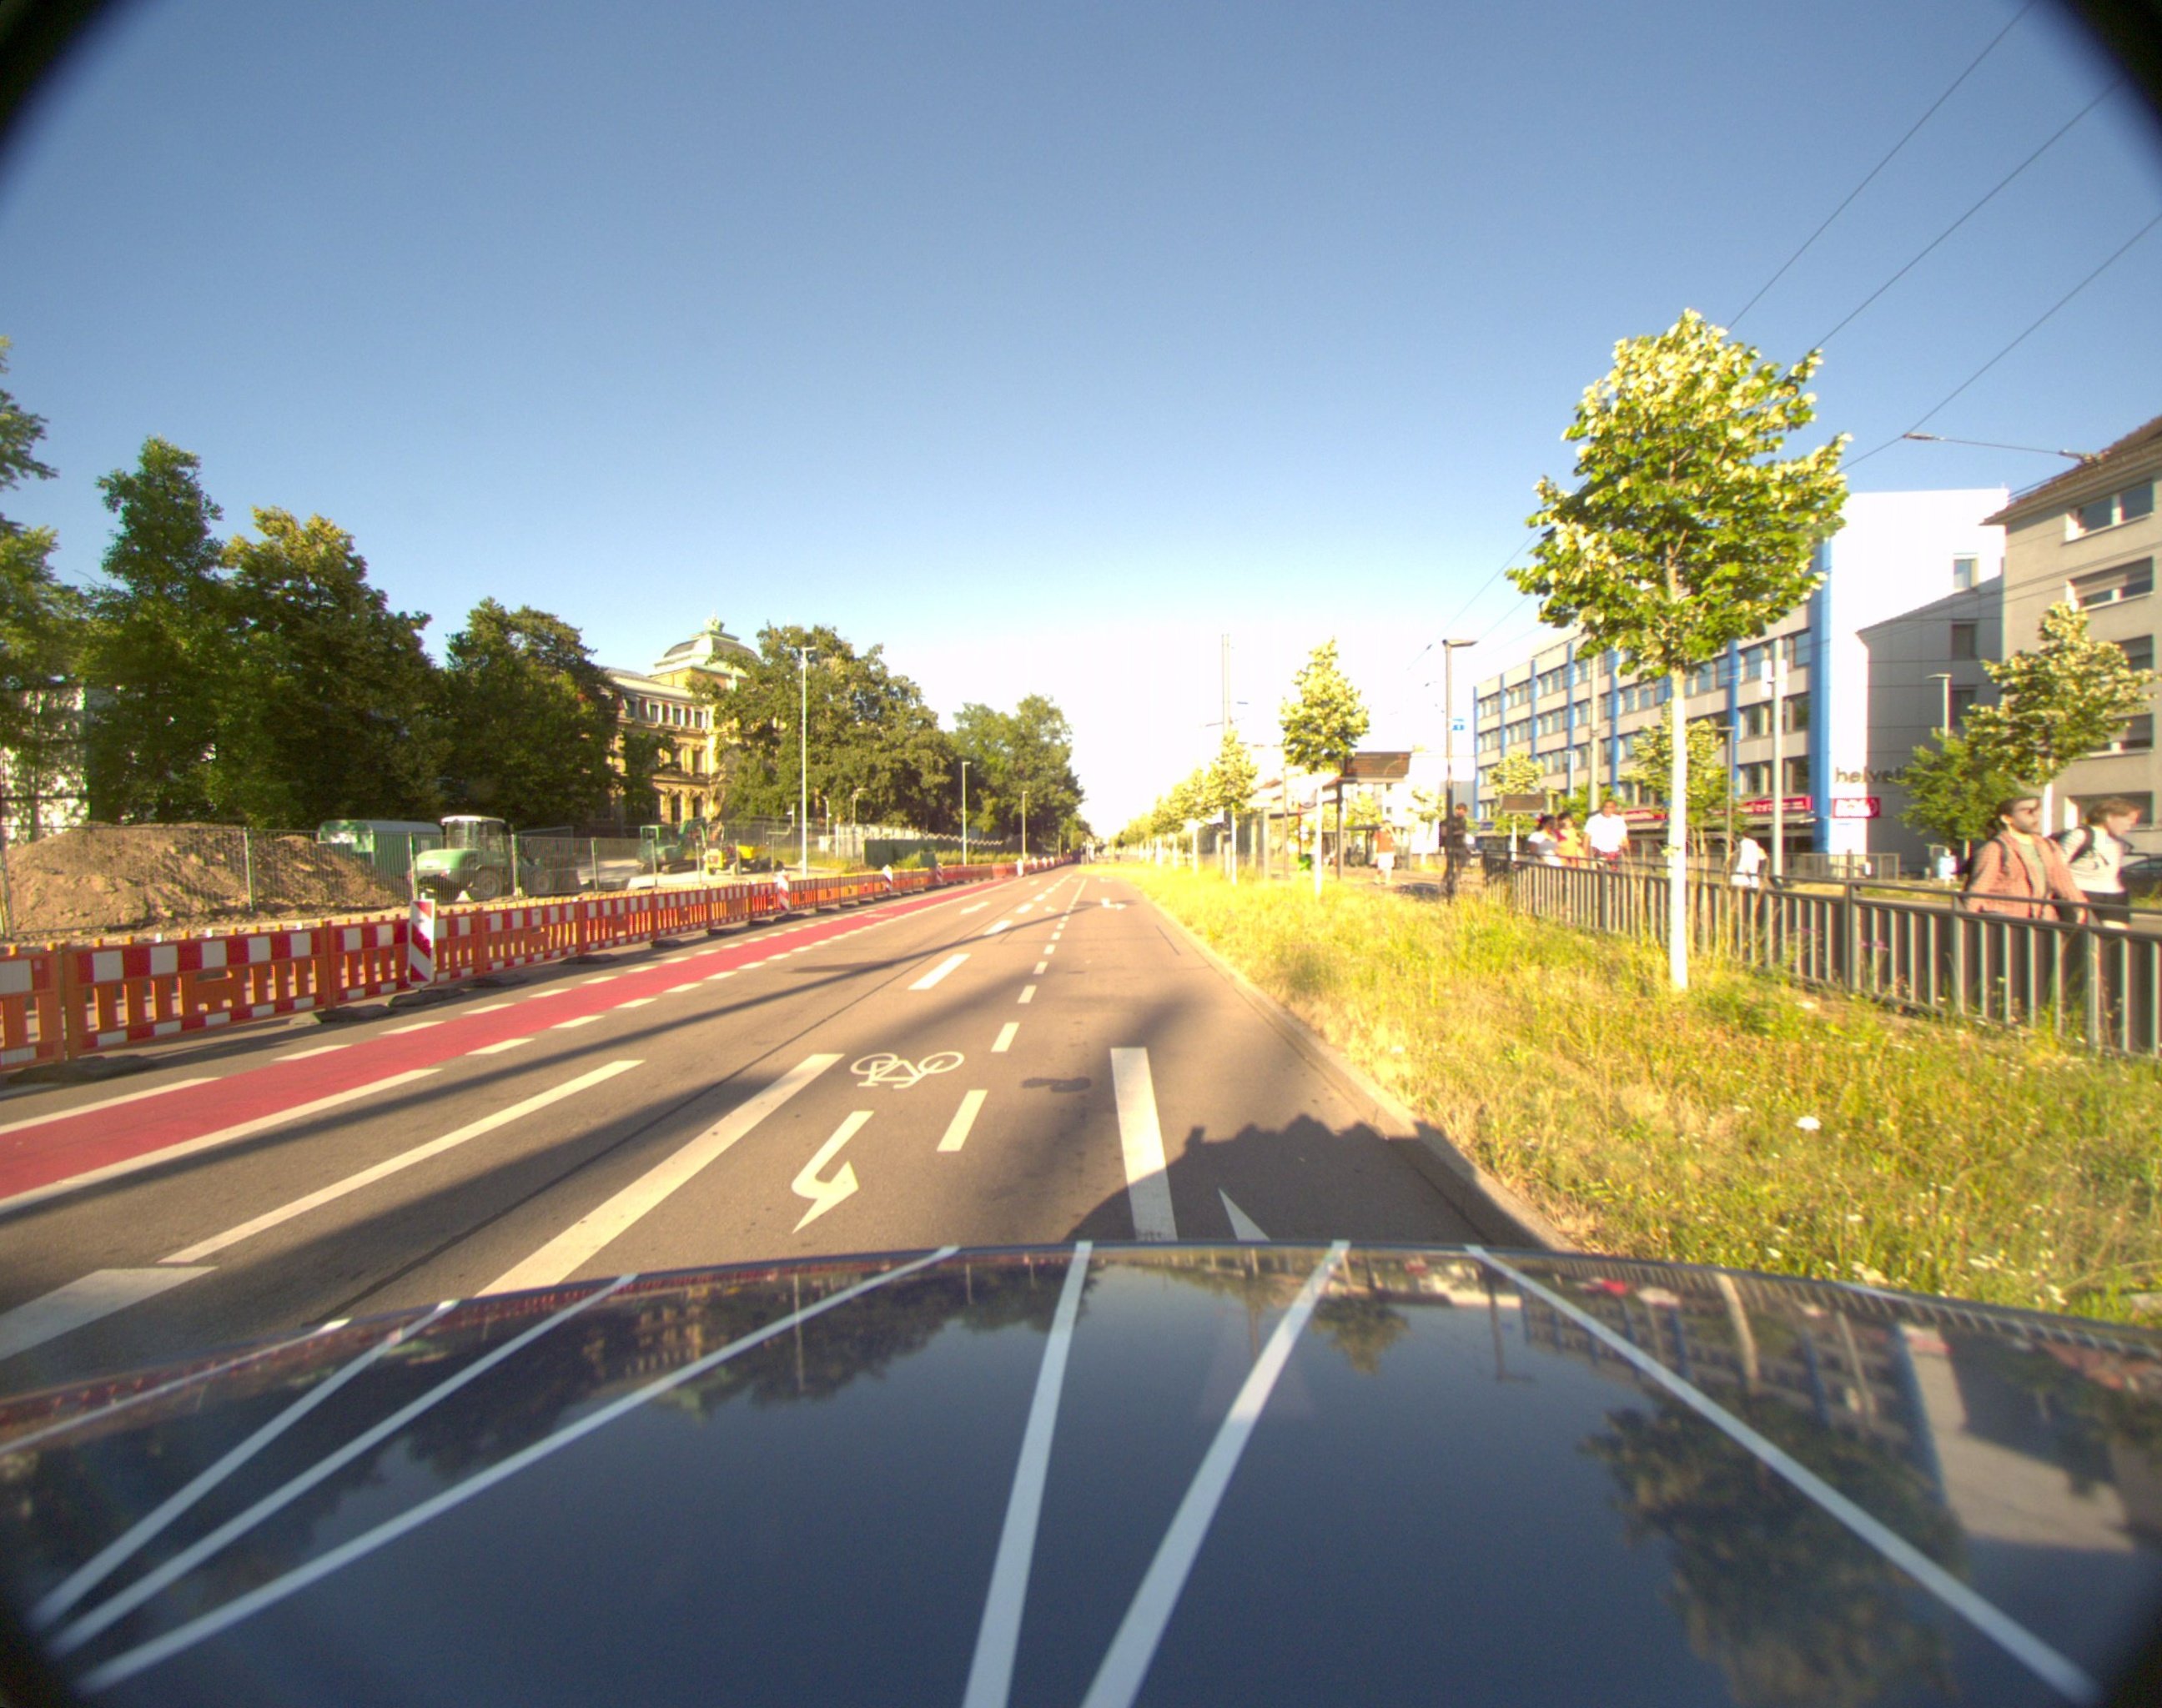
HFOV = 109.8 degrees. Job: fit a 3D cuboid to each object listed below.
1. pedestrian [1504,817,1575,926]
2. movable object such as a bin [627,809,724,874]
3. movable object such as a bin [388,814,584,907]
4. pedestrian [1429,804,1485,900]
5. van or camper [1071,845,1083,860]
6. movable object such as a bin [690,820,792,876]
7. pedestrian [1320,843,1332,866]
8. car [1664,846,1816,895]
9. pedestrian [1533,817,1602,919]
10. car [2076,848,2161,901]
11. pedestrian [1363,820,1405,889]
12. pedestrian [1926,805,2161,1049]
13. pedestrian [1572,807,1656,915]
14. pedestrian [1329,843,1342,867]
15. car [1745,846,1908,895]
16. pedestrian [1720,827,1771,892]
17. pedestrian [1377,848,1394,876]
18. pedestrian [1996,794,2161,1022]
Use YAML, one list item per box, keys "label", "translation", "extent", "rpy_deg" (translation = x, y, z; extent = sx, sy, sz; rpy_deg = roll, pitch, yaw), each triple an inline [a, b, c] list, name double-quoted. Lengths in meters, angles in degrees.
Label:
- label: "pedestrian"
  translation: [6.356, 0.235, 10.550]
  extent: [0.637, 1.447, 0.525]
  rpy_deg: [-2, 1, 3]
- label: "movable object such as a bin"
  translation: [-22.425, -0.691, 42.314]
  extent: [1.998, 3.310, 5.376]
  rpy_deg: [-2, 1, 5]
- label: "movable object such as a bin"
  translation: [-19.043, 0.166, 24.725]
  extent: [1.998, 2.668, 5.015]
  rpy_deg: [-2, 1, 5]
- label: "pedestrian"
  translation: [7.540, -0.043, 15.261]
  extent: [0.787, 1.853, 0.619]
  rpy_deg: [-2, 1, 4]
- label: "van or camper"
  translation: [-0.659, -0.304, 141.394]
  extent: [1.998, 2.514, 5.913]
  rpy_deg: [-2, 1, 1]
- label: "movable object such as a bin"
  translation: [-18.645, -0.354, 42.078]
  extent: [1.997, 2.800, 5.871]
  rpy_deg: [-2, 1, 11]
- label: "pedestrian"
  translation: [18.665, 0.041, 57.854]
  extent: [0.659, 1.682, 0.772]
  rpy_deg: [-2, 1, 4]
- label: "car"
  translation: [22.821, 0.510, 26.530]
  extent: [1.886, 1.499, 3.942]
  rpy_deg: [-2, 1, 1]
- label: "pedestrian"
  translation: [6.987, 0.195, 10.932]
  extent: [0.637, 1.423, 0.525]
  rpy_deg: [-2, 1, 5]
- label: "car"
  translation: [33.132, 0.616, 22.751]
  extent: [1.886, 1.499, 3.674]
  rpy_deg: [-2, 1, 1]
- label: "pedestrian"
  translation: [7.655, 0.005, 19.192]
  extent: [0.787, 1.689, 0.619]
  rpy_deg: [-2, 1, 4]
- label: "pedestrian"
  translation: [6.461, 0.466, 5.133]
  extent: [0.787, 1.527, 0.619]
  rpy_deg: [-2, 1, 5]
- label: "pedestrian"
  translation: [7.887, 0.100, 11.271]
  extent: [0.787, 1.540, 0.619]
  rpy_deg: [-2, 1, 4]
- label: "pedestrian"
  translation: [18.606, 0.069, 55.550]
  extent: [0.659, 1.682, 0.772]
  rpy_deg: [-2, 1, 7]
- label: "car"
  translation: [25.944, 0.518, 26.655]
  extent: [1.886, 1.499, 3.942]
  rpy_deg: [-2, 1, 1]
- label: "pedestrian"
  translation: [17.708, 0.145, 20.260]
  extent: [0.787, 1.663, 0.619]
  rpy_deg: [-2, 1, 4]
- label: "pedestrian"
  translation: [18.266, 0.465, 45.611]
  extent: [0.660, 1.682, 0.772]
  rpy_deg: [-2, 1, -1]
- label: "pedestrian"
  translation: [7.748, 0.385, 5.796]
  extent: [0.787, 1.631, 0.619]
  rpy_deg: [-2, 1, -1]
